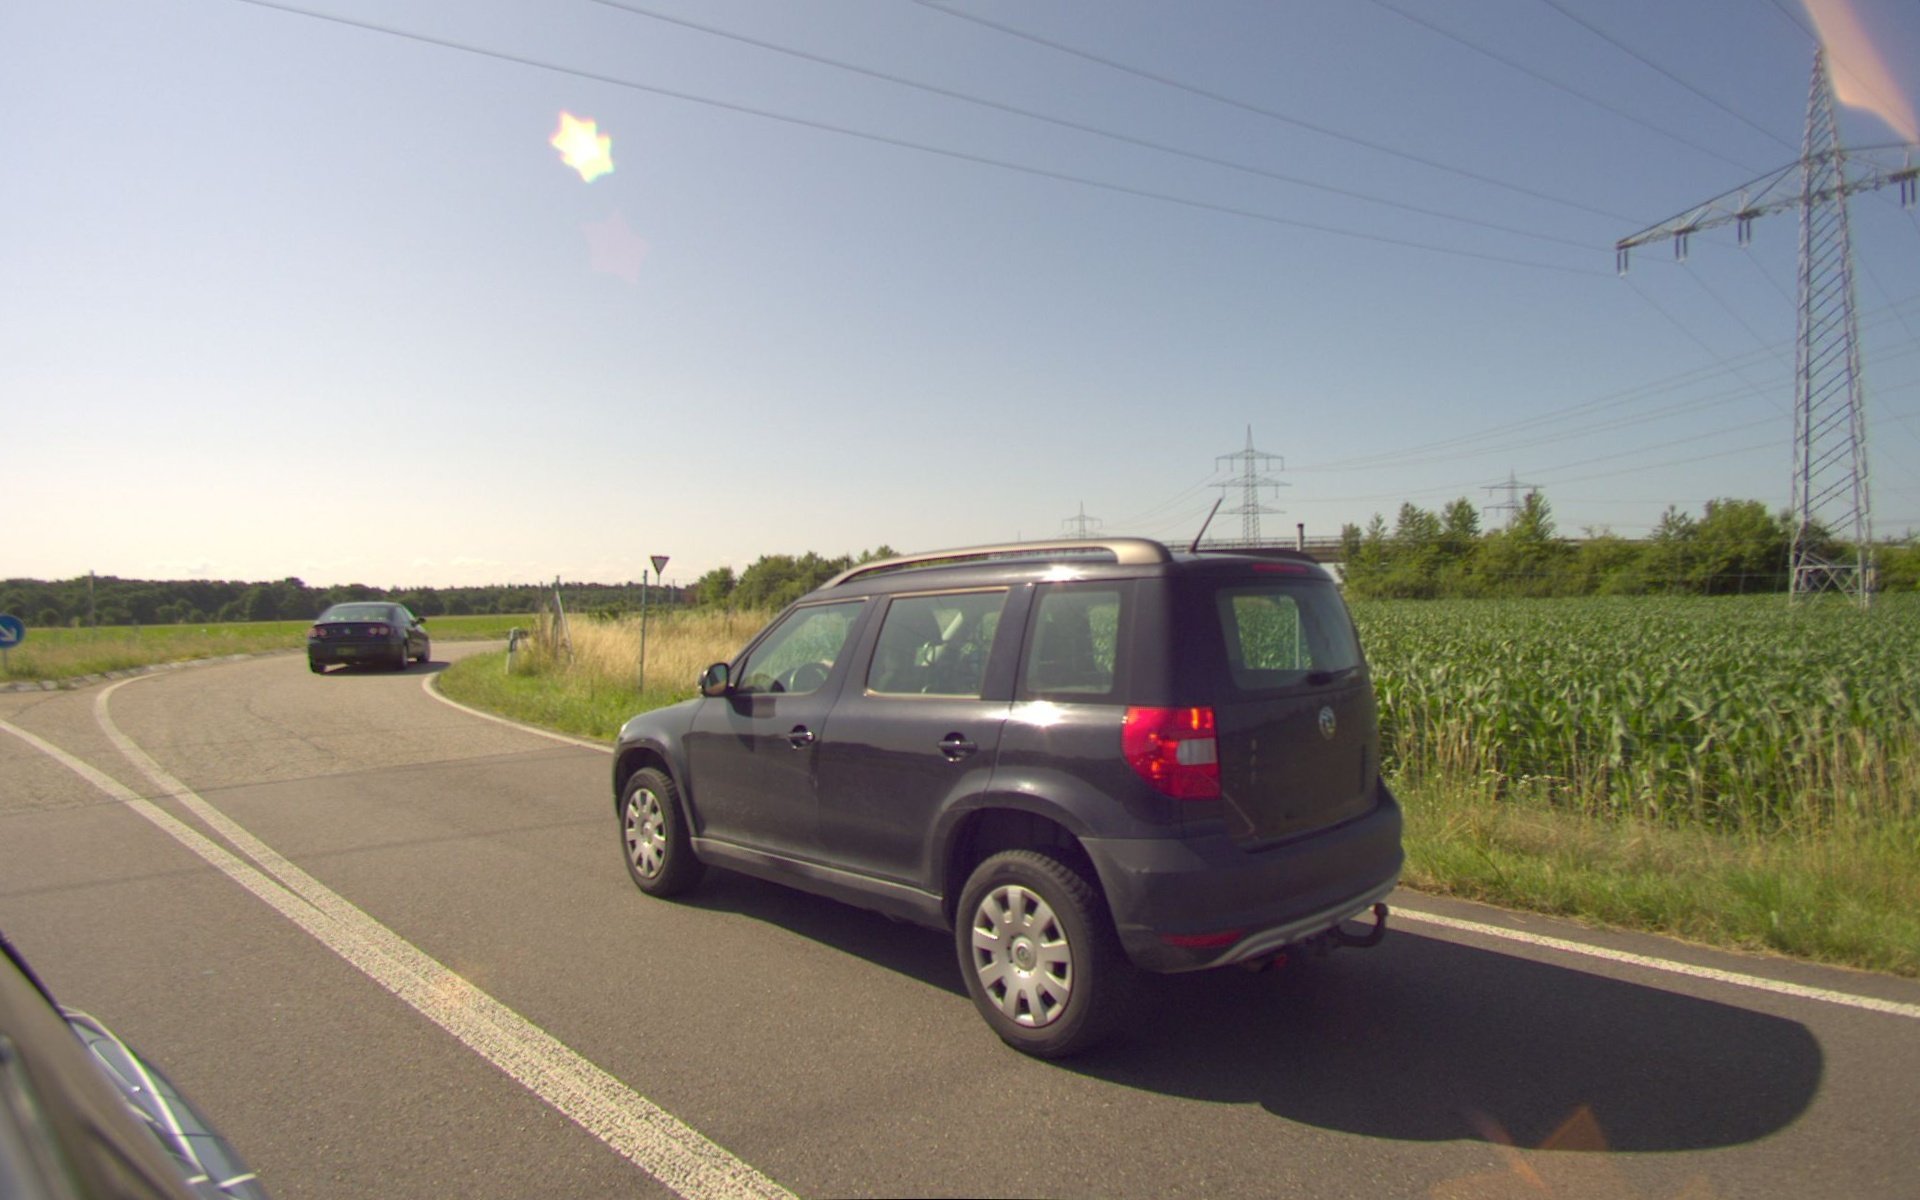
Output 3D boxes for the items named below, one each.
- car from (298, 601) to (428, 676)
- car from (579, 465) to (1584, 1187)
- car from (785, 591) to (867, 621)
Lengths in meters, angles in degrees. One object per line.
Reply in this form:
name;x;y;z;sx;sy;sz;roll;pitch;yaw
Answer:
car;-13.133;0.775;22.529;1.750;1.467;4.607;0;0;-21
car;0.160;0.559;4.625;4.263;1.719;1.961;-1;-1;45
car;-8.530;0.363;64.748;2.099;1.652;5.287;-1;1;37
